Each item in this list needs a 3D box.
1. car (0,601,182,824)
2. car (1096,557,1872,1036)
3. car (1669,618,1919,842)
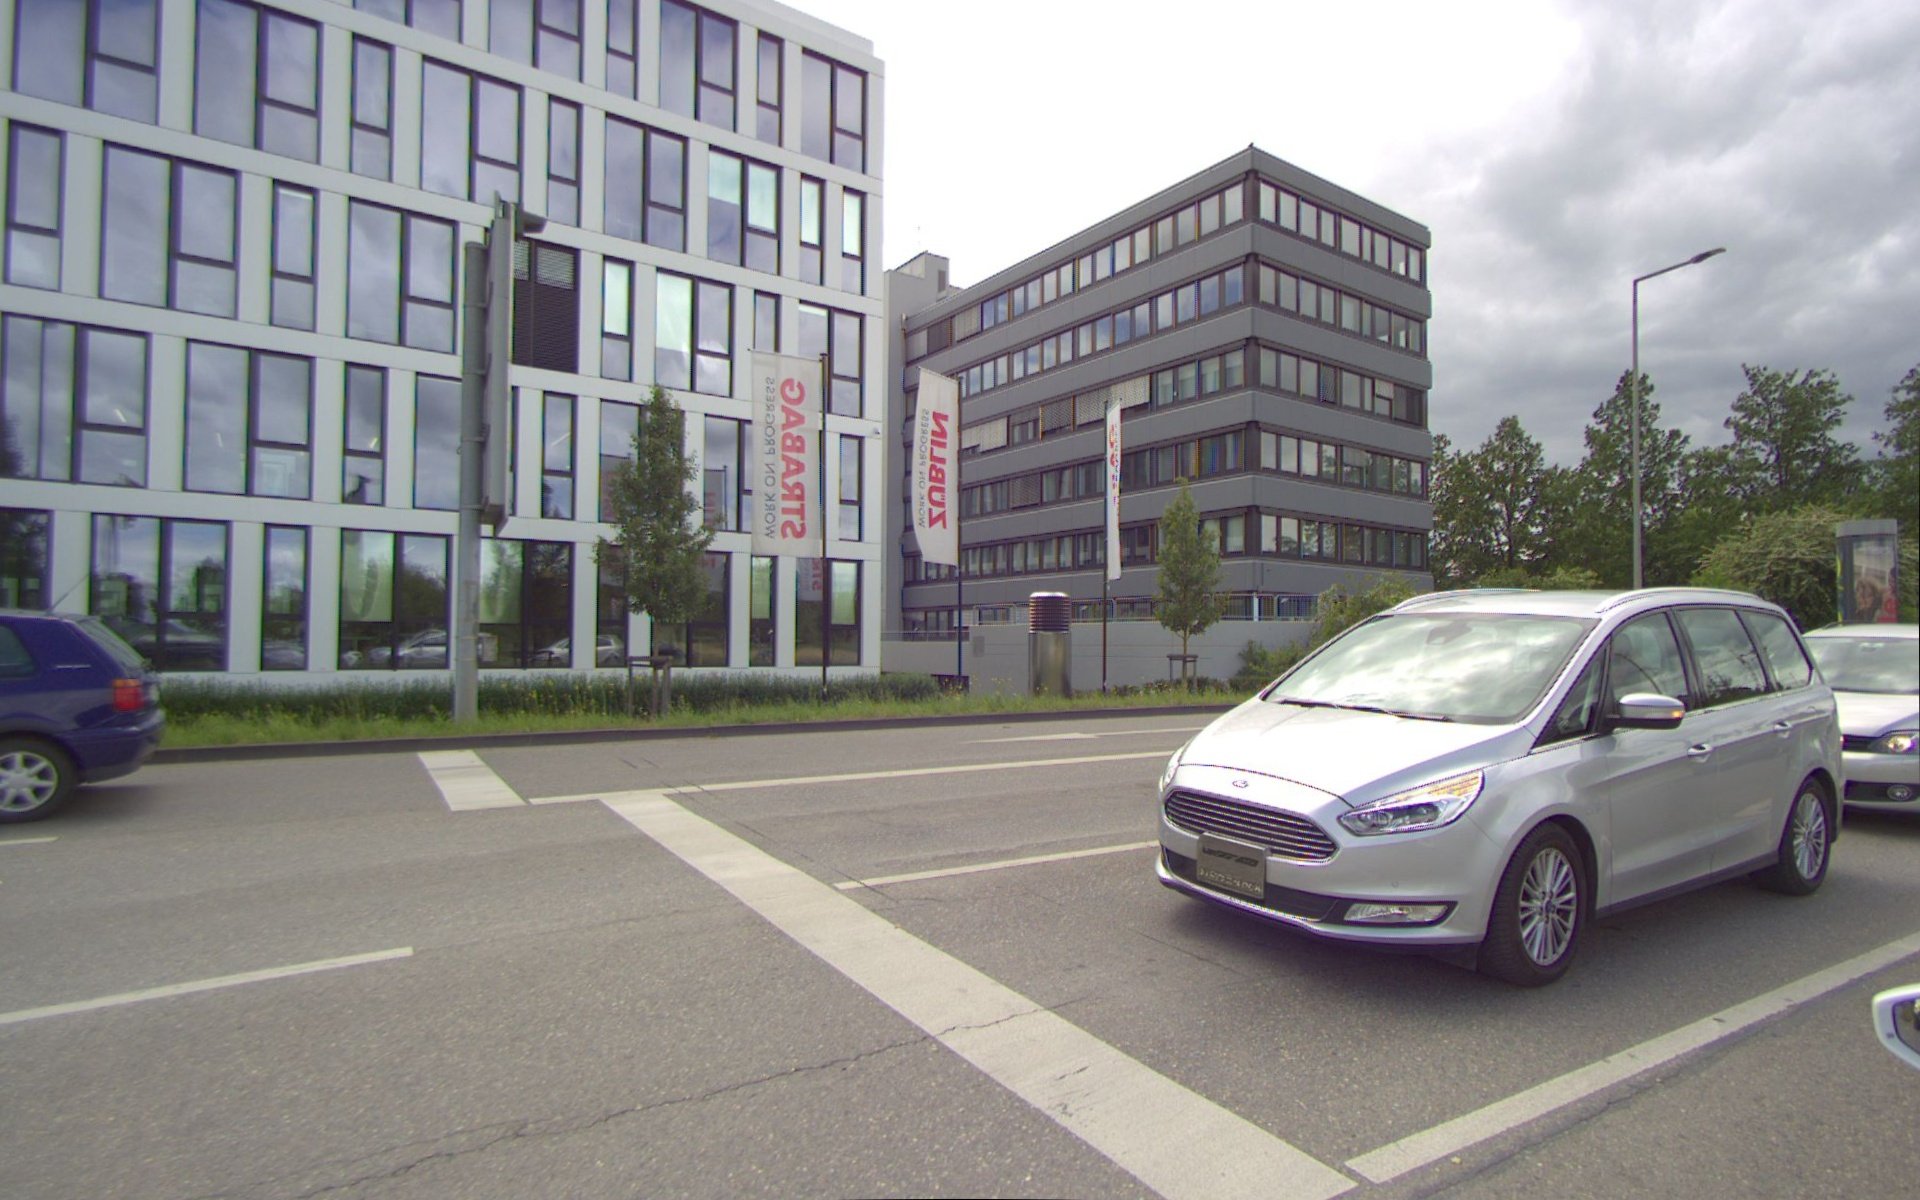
[{"bbox_3d":[-7.550,0.710,6.517,3.857,1.438,1.543,1,-1,-36],"label":"car"},{"bbox_3d":[3.110,0.736,5.606,4.595,1.709,1.810,1,0,-33],"label":"car"},{"bbox_3d":[8.106,0.962,8.746,4.036,1.538,1.652,1,0,-31],"label":"car"}]
